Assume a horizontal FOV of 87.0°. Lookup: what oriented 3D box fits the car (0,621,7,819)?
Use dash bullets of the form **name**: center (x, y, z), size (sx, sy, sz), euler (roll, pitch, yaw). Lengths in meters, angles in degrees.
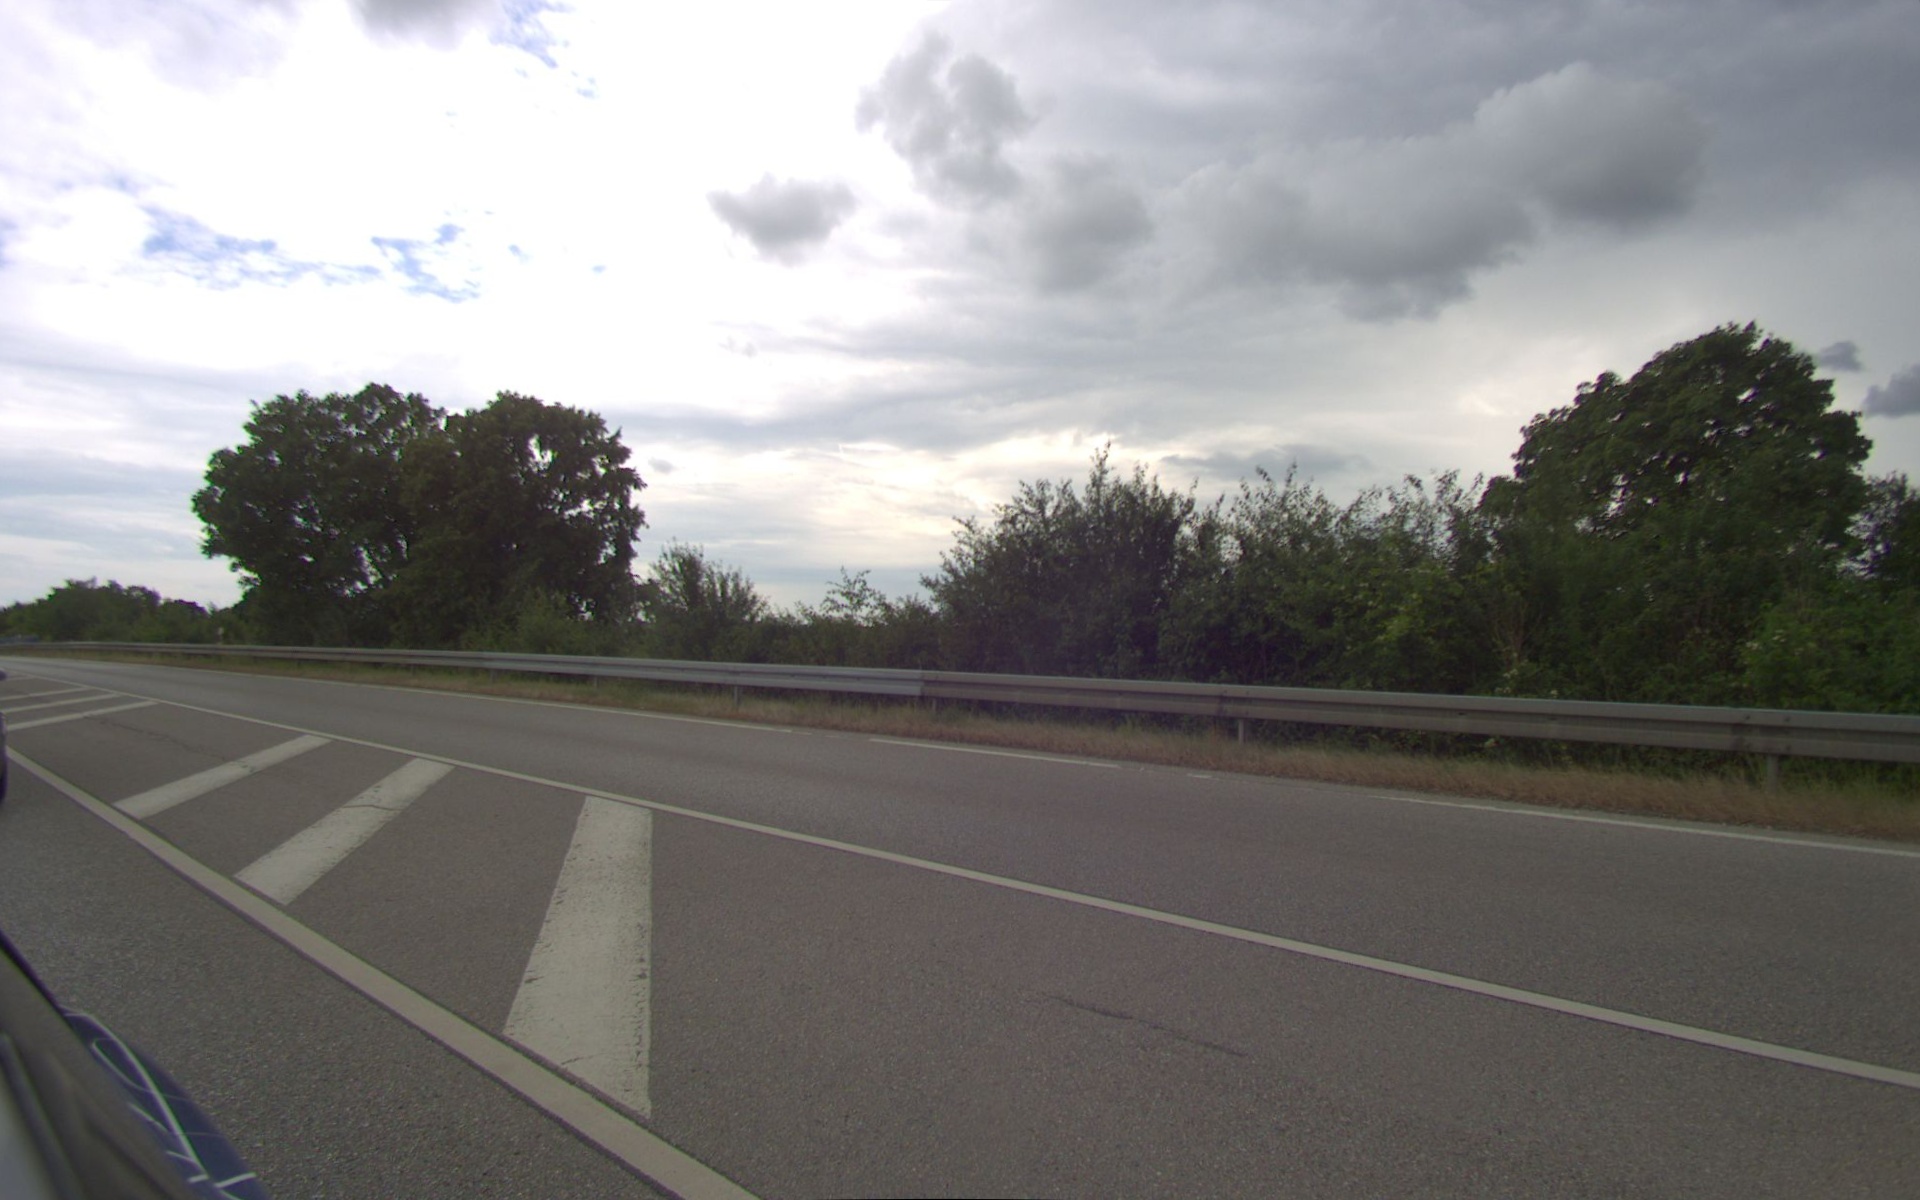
- **car**: center (-9.164, 0.930, 8.173), size (4.032, 1.461, 1.761), euler (-2, -2, 41)
